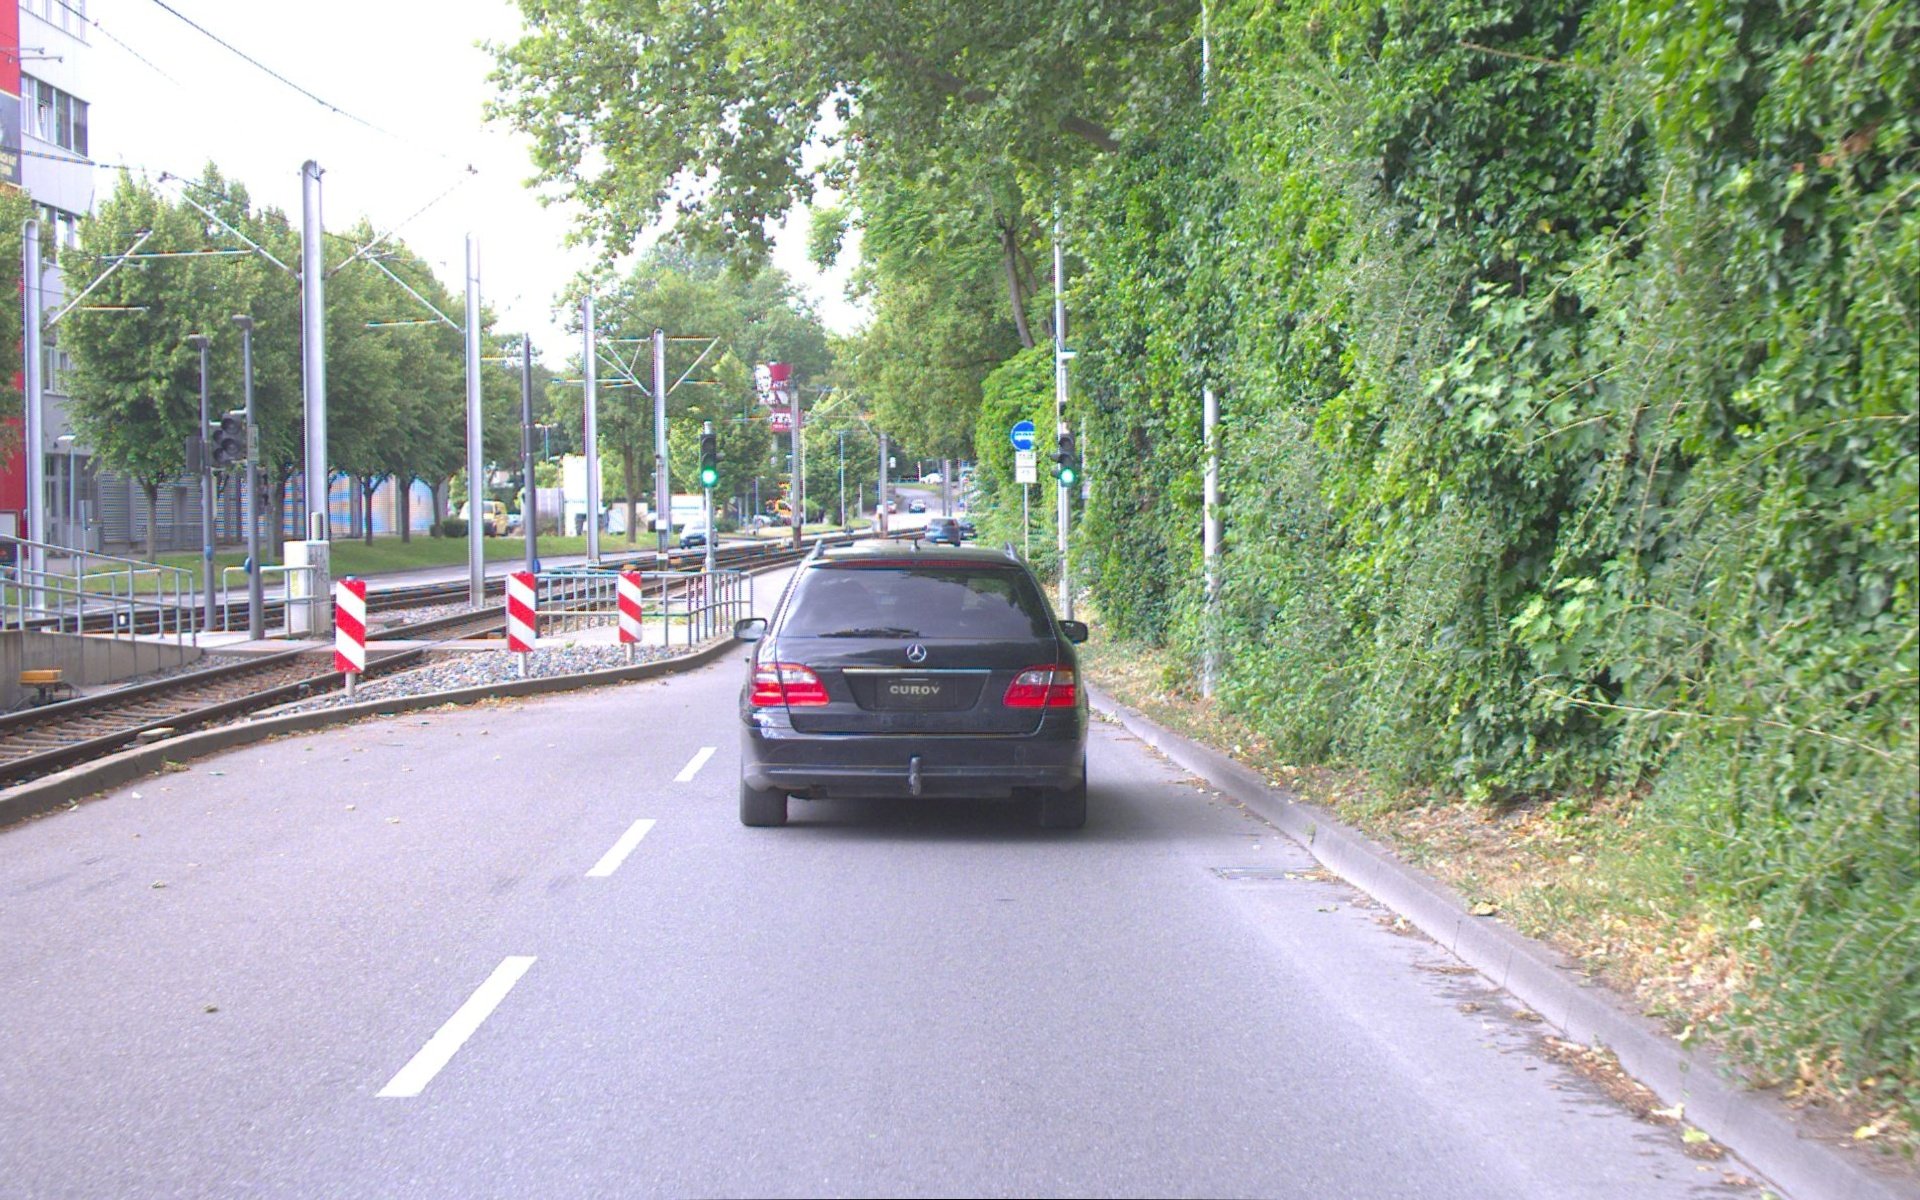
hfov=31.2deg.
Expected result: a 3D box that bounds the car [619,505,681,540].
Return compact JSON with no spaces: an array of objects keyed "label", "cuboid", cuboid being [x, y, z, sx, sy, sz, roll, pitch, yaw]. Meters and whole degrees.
[{"label":"car","cuboid":[-20.499,-5.114,227.074,3.986,2.116,2.000,-2,1,-5]}]

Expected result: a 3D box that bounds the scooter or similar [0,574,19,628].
[{"label":"scooter or similar","cuboid":[-14.045,0.030,49.609,0.496,0.765,0.798,-2,1,21]}]

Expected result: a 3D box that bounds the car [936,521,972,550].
[{"label":"car","cuboid":[-0.316,-3.495,184.909,1.825,1.524,3.928,0,2,1]}]

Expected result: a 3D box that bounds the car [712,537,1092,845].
[{"label":"car","cuboid":[-0.275,0.401,18.857,1.833,1.473,4.416,0,1,0]}]

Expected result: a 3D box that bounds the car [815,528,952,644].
[{"label":"car","cuboid":[-1.066,-0.233,48.196,1.825,1.524,4.416,0,2,-1]}]

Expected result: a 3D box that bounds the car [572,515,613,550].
[{"label":"car","cuboid":[-21.932,-4.038,205.441,1.993,2.007,4.000,-2,1,-1]}]

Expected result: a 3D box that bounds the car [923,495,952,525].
[{"label":"car","cuboid":[-1.561,-6.285,240.113,1.891,2.007,3.898,-2,1,0]}]

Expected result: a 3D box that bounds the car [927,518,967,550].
[{"label":"car","cuboid":[-0.615,-3.187,166.408,1.825,1.524,4.416,-1,1,1]}]

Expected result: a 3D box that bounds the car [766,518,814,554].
[{"label":"car","cuboid":[-7.446,-2.813,151.120,1.825,1.524,3.928,0,2,1]}]

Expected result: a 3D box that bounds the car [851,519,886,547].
[{"label":"car","cuboid":[-5.184,-3.801,195.337,1.825,1.524,3.986,0,2,1]}]

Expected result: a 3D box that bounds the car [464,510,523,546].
[{"label":"car","cuboid":[-23.749,-3.682,175.156,1.994,1.737,4.987,-1,1,4]}]

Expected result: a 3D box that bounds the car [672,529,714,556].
[{"label":"car","cuboid":[-14.100,-3.047,181.774,1.660,1.388,3.718,0,1,5]}]
